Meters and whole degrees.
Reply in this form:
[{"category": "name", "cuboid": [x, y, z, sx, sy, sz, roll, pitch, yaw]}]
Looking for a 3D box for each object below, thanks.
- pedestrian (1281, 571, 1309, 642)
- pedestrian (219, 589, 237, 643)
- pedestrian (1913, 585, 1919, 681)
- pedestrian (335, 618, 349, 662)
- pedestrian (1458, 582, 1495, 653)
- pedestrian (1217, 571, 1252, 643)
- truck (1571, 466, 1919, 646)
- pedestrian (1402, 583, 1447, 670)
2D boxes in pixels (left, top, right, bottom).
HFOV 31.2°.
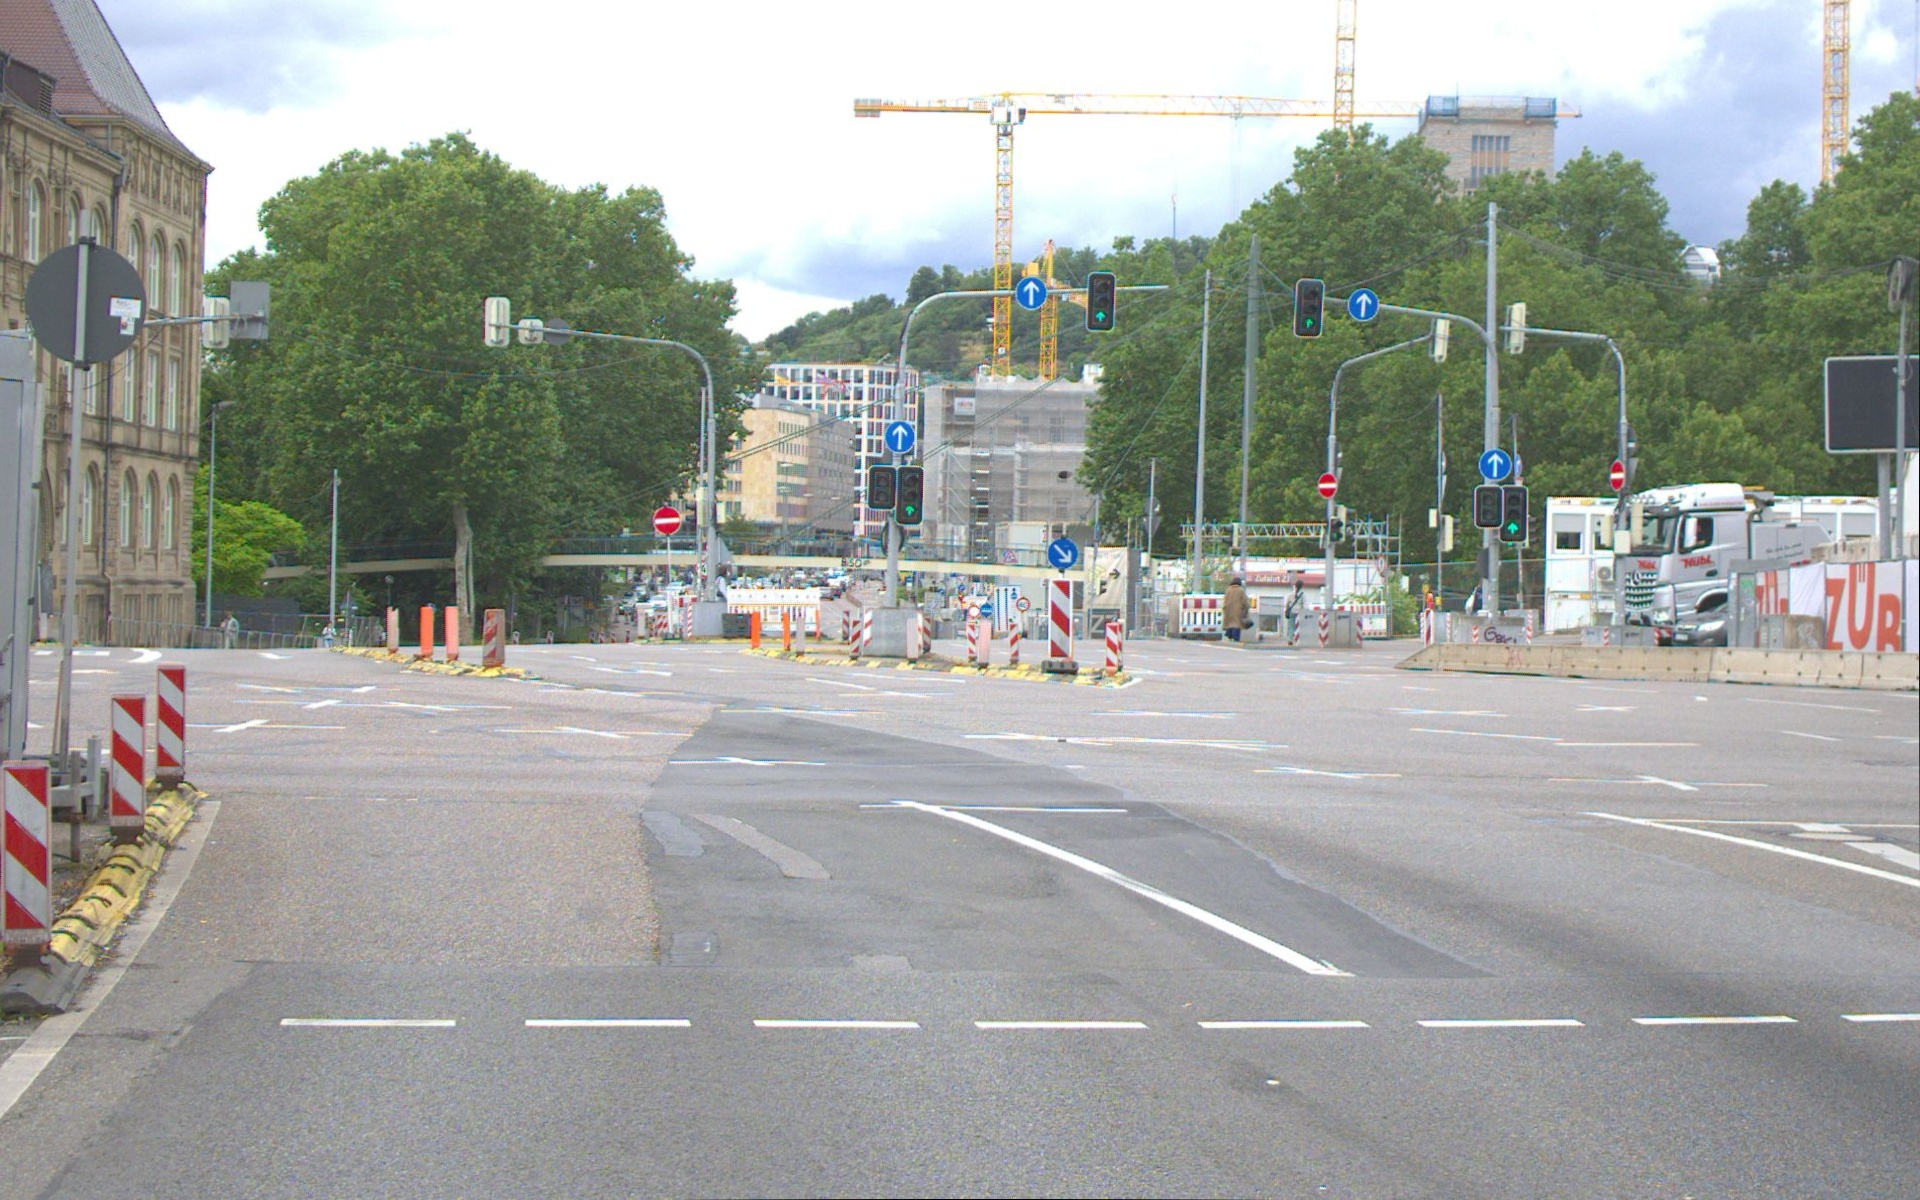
[{"category": "pedestrian", "cuboid": [8.005, 0.158, 82.227, 0.566, 1.683, 0.472, 1, 1, -1]}, {"category": "pedestrian", "cuboid": [-27.488, 0.609, 129.087, 0.524, 2.007, 0.567, 1, 1, 0]}, {"category": "pedestrian", "cuboid": [14.183, 0.487, 48.903, 0.796, 1.373, 0.905, 1, 1, -19]}, {"category": "pedestrian", "cuboid": [-28.180, 1.825, 156.730, 0.524, 2.007, 0.567, 1, 1, 0]}, {"category": "pedestrian", "cuboid": [12.466, 0.412, 82.929, 0.622, 1.683, 0.710, 2, 1, 29]}, {"category": "pedestrian", "cuboid": [6.509, 0.166, 81.496, 0.729, 1.683, 0.678, 1, 1, -1]}, {"category": "truck", "cuboid": [21.357, -0.991, 82.005, 13.022, 4.027, 3.952, 1, 1, -20]}, {"category": "pedestrian", "cuboid": [9.130, 0.513, 67.577, 0.729, 1.683, 0.678, 1, 1, -1]}]
